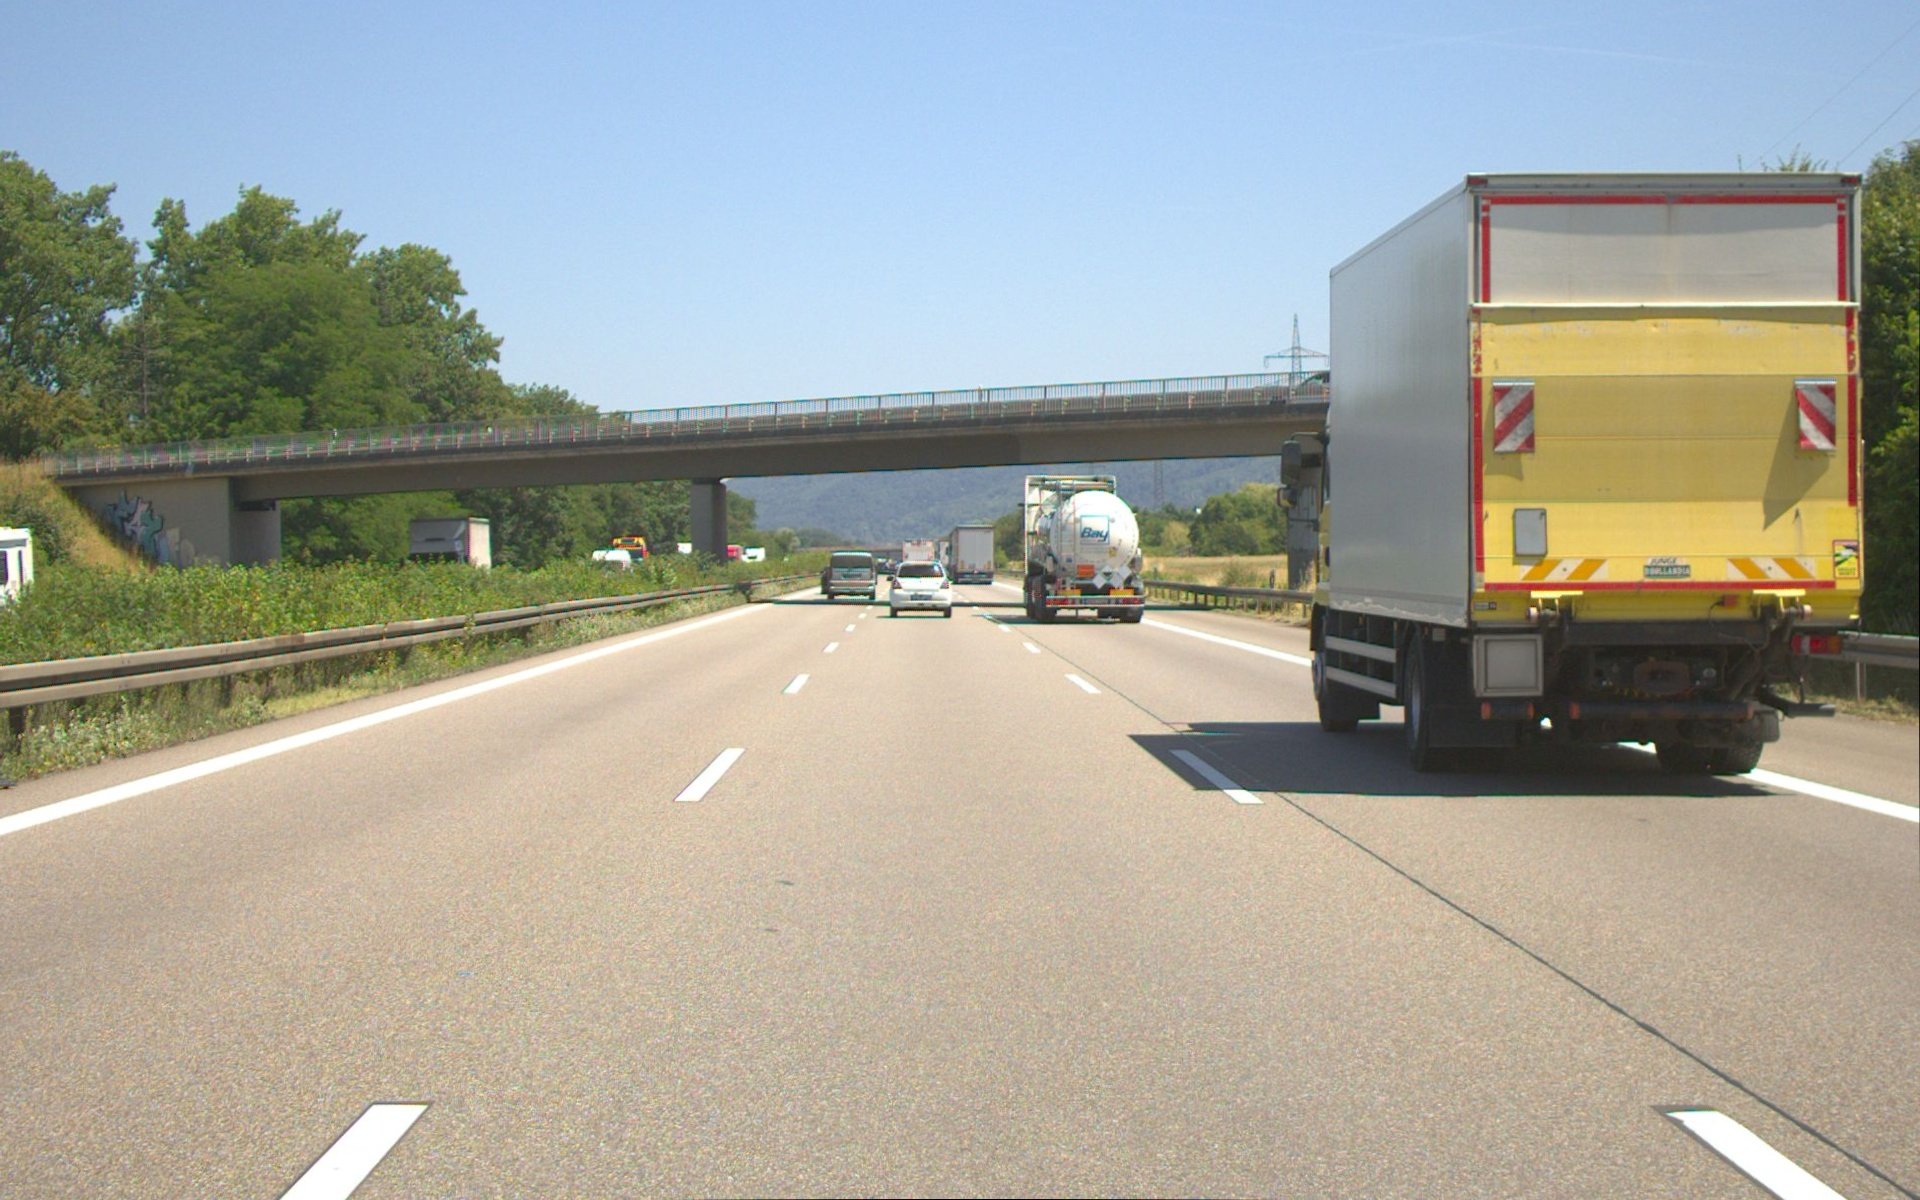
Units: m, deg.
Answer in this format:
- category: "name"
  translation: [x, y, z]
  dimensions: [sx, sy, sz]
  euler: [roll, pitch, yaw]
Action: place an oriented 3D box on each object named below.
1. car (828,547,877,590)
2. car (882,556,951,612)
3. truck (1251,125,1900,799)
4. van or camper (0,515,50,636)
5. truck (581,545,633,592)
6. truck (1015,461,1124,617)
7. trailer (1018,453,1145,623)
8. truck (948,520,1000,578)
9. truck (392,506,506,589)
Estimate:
- category: "car"
  translation: [-4.270, -1.263, 136.966]
  dimensions: [1.852, 1.627, 4.000]
  euler: [1, 1, -1]
- category: "car"
  translation: [-1.182, -0.450, 94.219]
  dimensions: [1.806, 1.463, 4.000]
  euler: [1, 1, -1]
- category: "truck"
  translation: [4.327, -0.939, 26.990]
  dimensions: [2.933, 4.185, 10.682]
  euler: [1, 1, -1]
- category: "van or camper"
  translation: [-21.220, -0.543, 73.322]
  dimensions: [1.993, 2.536, 6.299]
  euler: [1, 1, -1]
- category: "truck"
  translation: [-18.499, -1.675, 180.329]
  dimensions: [1.993, 2.390, 6.419]
  euler: [1, 1, 0]
- category: "truck"
  translation: [2.924, -1.639, 93.485]
  dimensions: [2.573, 4.058, 6.393]
  euler: [1, 1, -1]
- category: "trailer"
  translation: [3.023, -1.571, 88.539]
  dimensions: [2.580, 4.060, 11.104]
  euler: [1, 1, -1]
- category: "truck"
  translation: [0.919, -3.541, 238.641]
  dimensions: [3.265, 3.844, 11.632]
  euler: [1, 1, -1]
- category: "truck"
  translation: [-22.477, -2.311, 151.821]
  dimensions: [2.877, 3.486, 10.734]
  euler: [1, 1, 3]
